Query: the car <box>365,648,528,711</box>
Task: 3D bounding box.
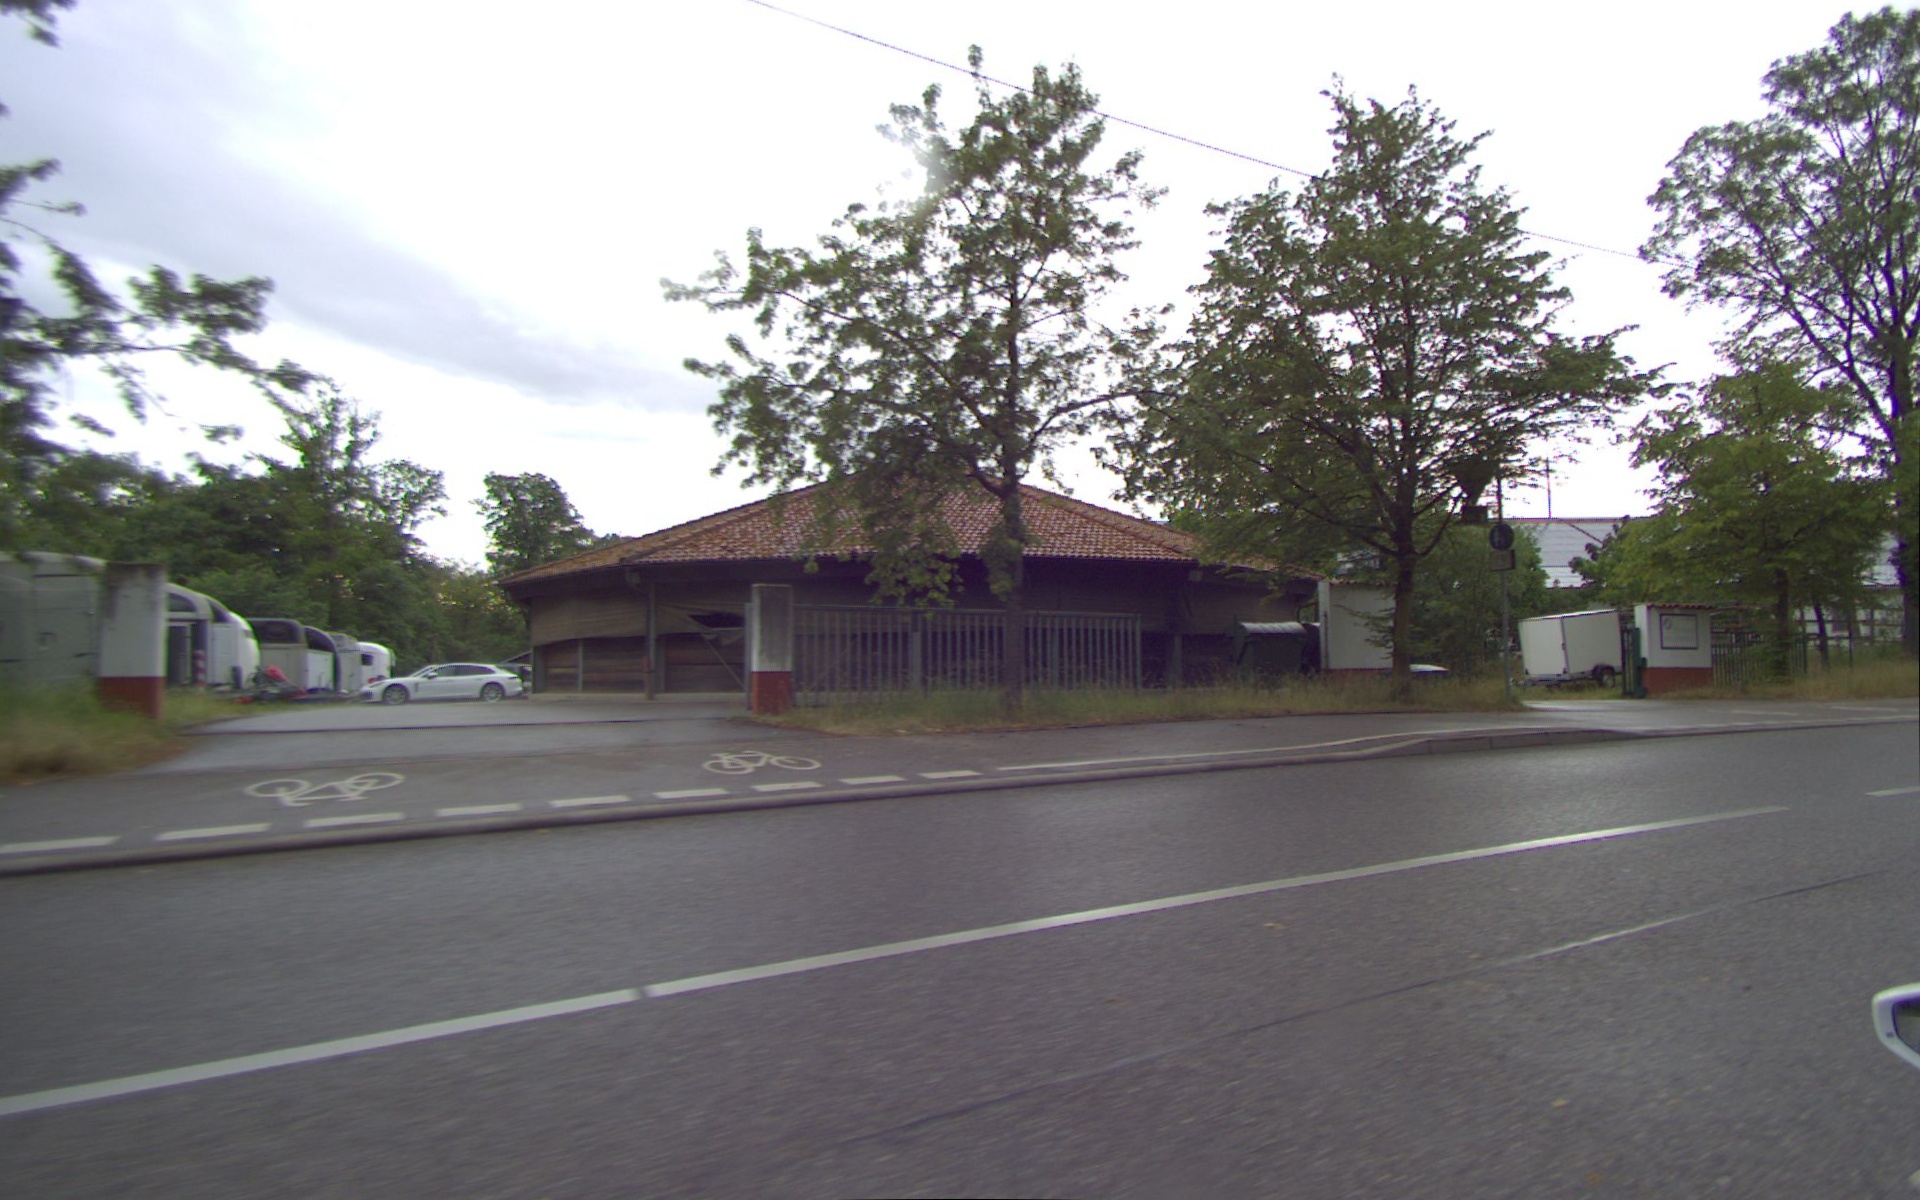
[{"bbox_3d":[-17.608,2.725,34.553,4.752,2.039,1.969,2,-6,-35],"label":"car"}]
